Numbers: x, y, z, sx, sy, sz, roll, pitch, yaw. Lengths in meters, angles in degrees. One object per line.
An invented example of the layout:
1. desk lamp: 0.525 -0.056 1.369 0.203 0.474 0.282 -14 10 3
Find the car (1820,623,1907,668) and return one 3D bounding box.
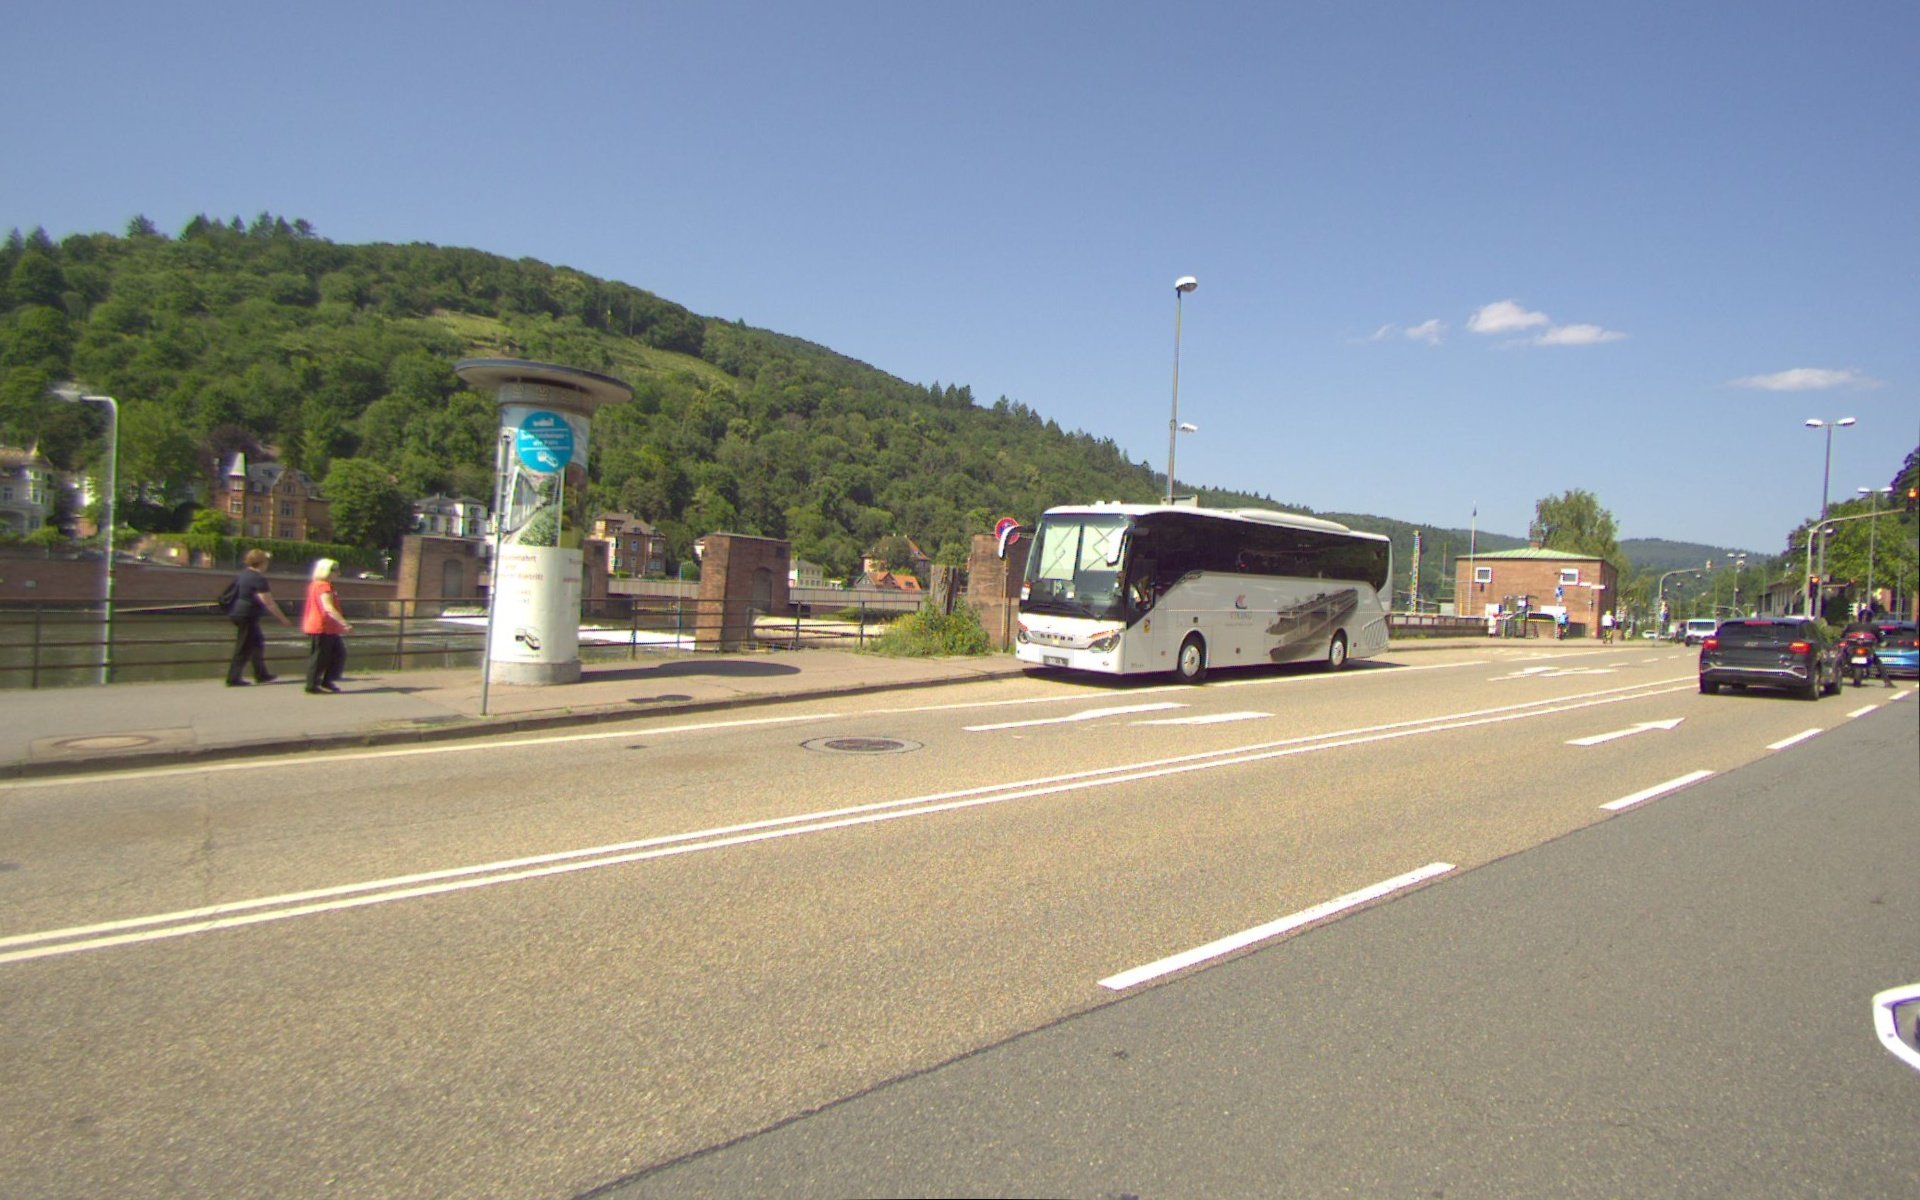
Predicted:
1. car: 30.272 1.476 33.610 3.972 1.377 1.849 1 0 -43

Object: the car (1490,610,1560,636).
1. car: 45.719 1.829 81.377 4.524 2.040 2.001 1 0 7

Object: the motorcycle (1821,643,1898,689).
1. motorcycle: 20.818 1.492 23.227 2.585 0.932 1.029 1 0 -41

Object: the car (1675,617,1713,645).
1. car: 58.987 2.440 80.696 2.188 2.106 5.019 0 0 40

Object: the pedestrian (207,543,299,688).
1. pedestrian: -8.764 0.184 12.457 0.675 1.732 0.769 2 0 41

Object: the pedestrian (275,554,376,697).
1. pedestrian: -7.612 0.295 12.055 0.694 1.643 0.813 2 0 39

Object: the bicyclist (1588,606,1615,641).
1. bicyclist: 37.711 1.367 59.039 1.197 2.040 1.113 1 0 39

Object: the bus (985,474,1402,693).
1. bus: 6.198 -0.316 23.435 2.925 3.852 13.162 6 4 44

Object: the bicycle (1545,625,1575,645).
1. bicycle: 35.292 2.042 59.071 1.198 1.105 2.587 1 0 38

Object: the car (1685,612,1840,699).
1. car: 16.068 1.047 20.040 4.121 1.534 1.851 2 -1 -43

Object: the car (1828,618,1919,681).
1. car: 25.393 1.309 27.661 3.972 1.583 1.849 1 0 -43

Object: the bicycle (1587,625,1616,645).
1. bicycle: 37.773 2.044 59.109 1.198 1.105 2.587 1 0 38

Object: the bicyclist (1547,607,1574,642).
1. bicyclist: 35.411 1.436 59.250 1.197 2.040 1.113 1 0 39

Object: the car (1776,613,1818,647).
1. car: 66.410 2.349 79.753 2.354 2.611 6.029 0 -1 38

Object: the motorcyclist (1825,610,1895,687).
1. motorcyclist: 20.759 1.085 23.170 1.147 1.707 1.066 1 0 -41
